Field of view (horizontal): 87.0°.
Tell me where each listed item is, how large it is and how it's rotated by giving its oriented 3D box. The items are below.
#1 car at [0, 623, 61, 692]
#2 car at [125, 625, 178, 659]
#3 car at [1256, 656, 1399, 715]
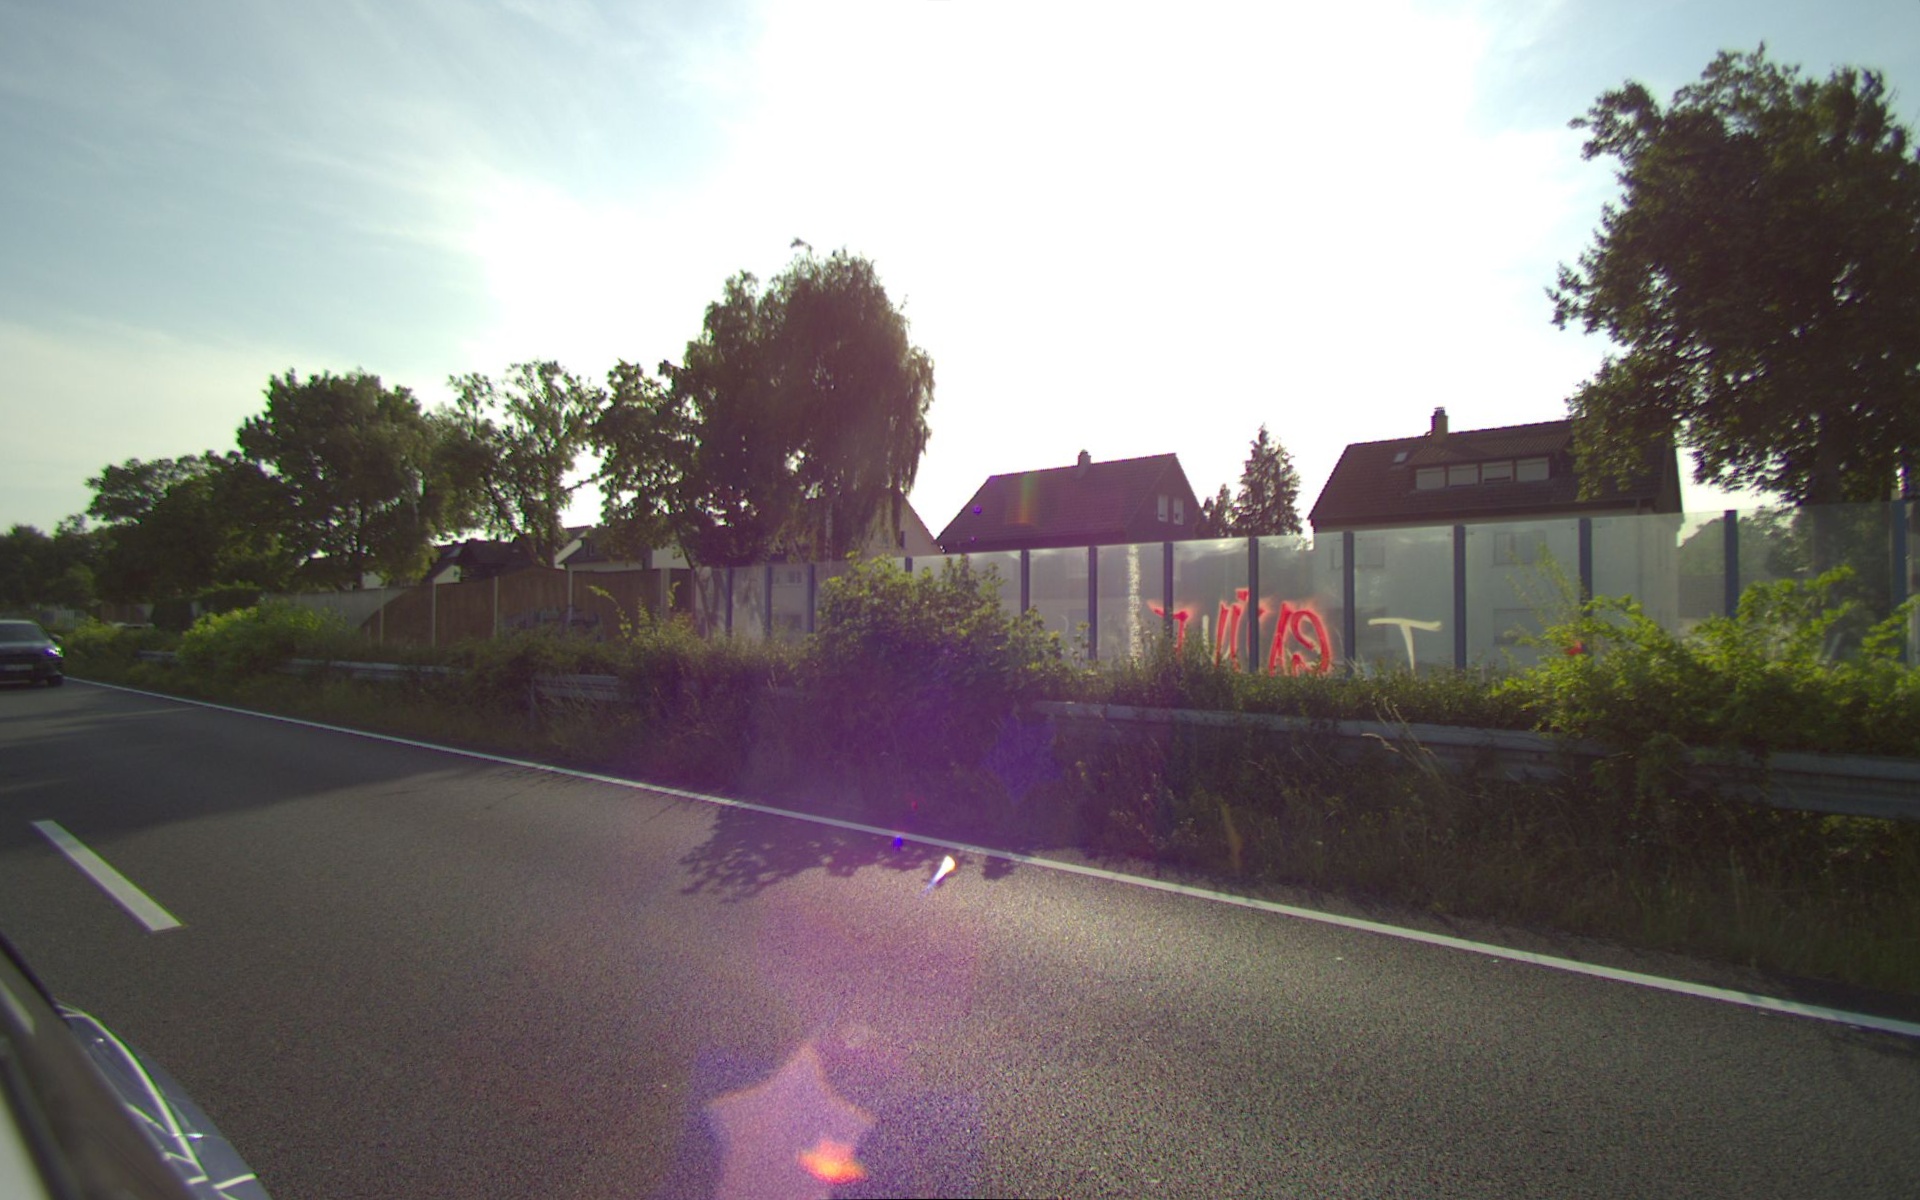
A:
[{"bbox_3d":[-23.279,1.348,24.454,4.244,1.536,1.798,-1,0,41],"label":"car"},{"bbox_3d":[-38.305,1.965,47.922,3.145,1.473,1.402,-1,0,41],"label":"car"},{"bbox_3d":[10.694,2.447,29.598,3.645,1.447,1.503,-1,0,41],"label":"car"}]
